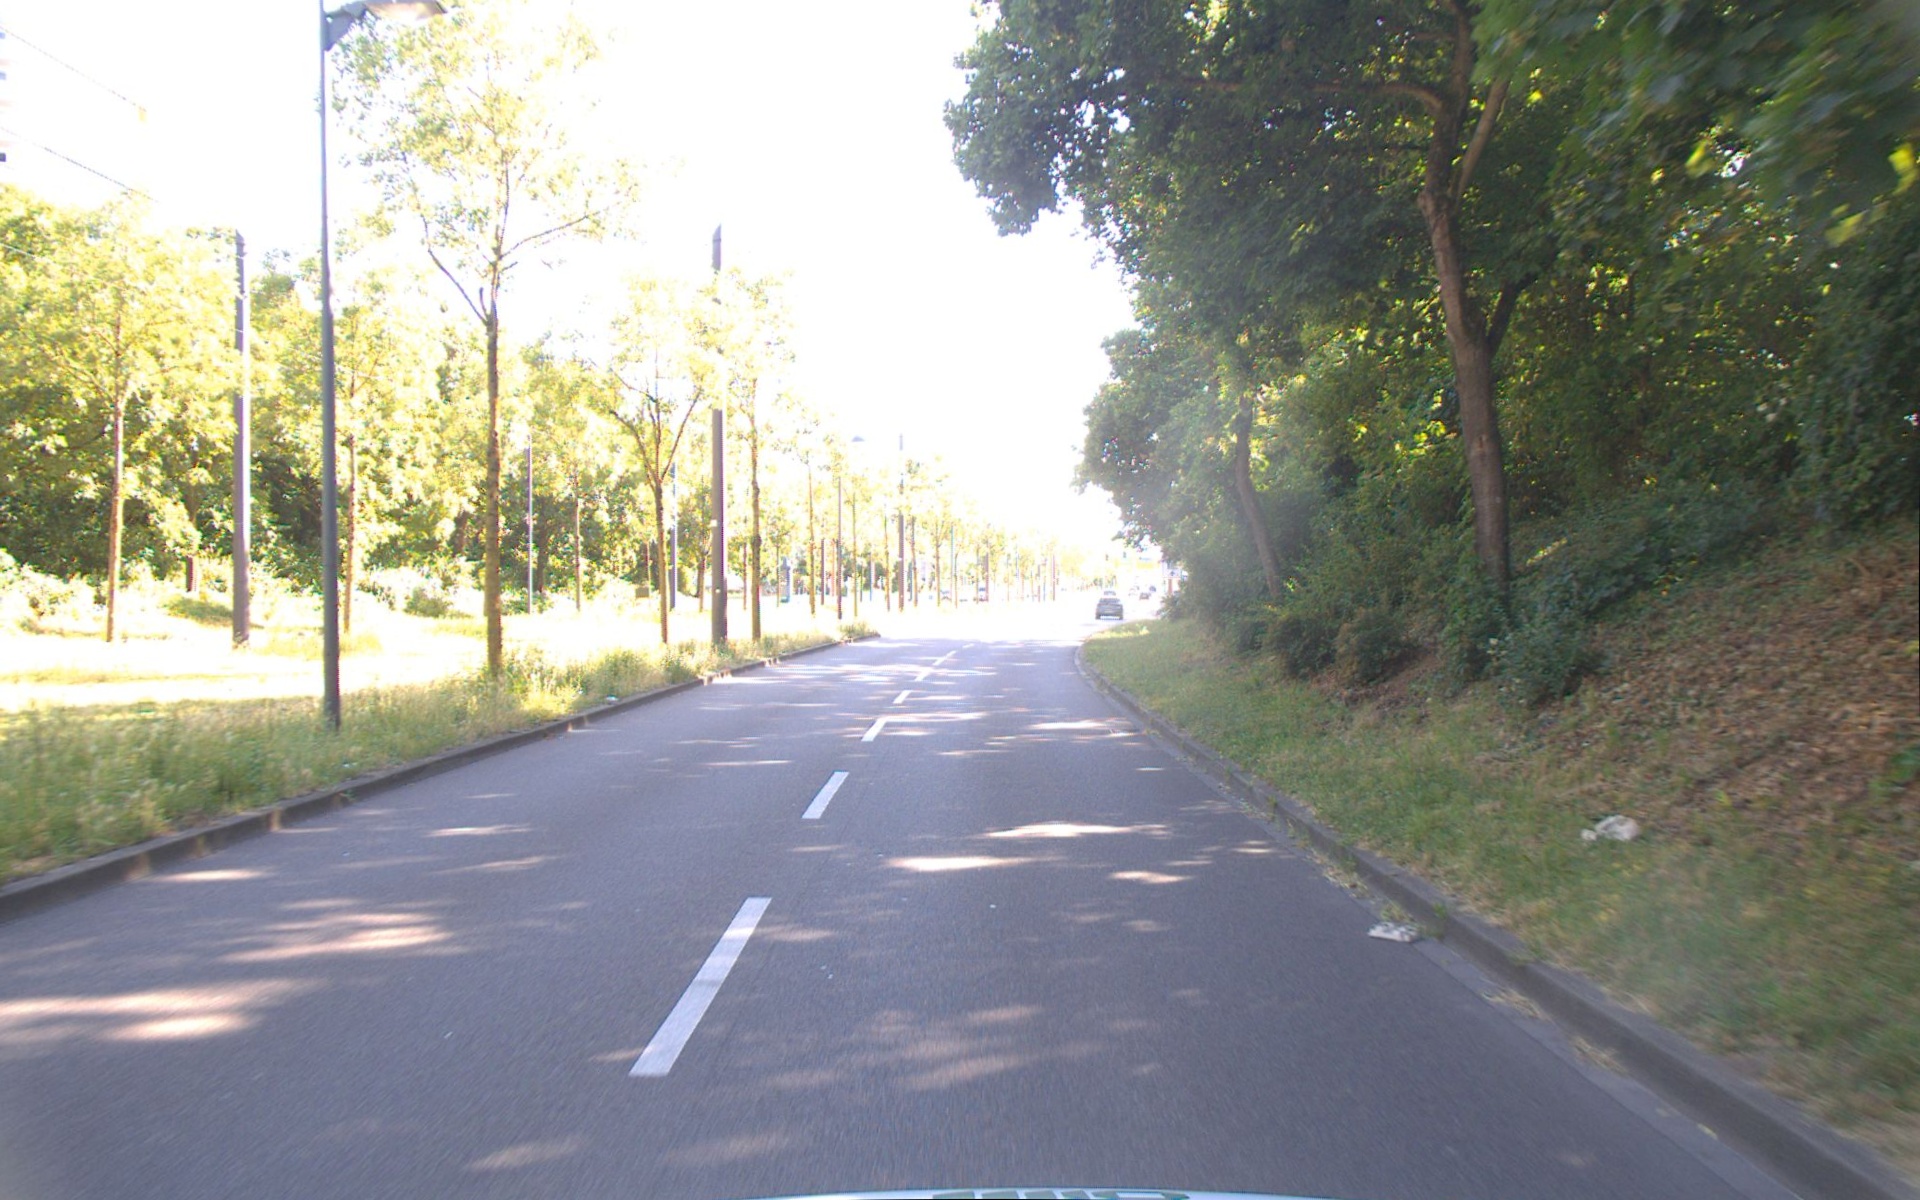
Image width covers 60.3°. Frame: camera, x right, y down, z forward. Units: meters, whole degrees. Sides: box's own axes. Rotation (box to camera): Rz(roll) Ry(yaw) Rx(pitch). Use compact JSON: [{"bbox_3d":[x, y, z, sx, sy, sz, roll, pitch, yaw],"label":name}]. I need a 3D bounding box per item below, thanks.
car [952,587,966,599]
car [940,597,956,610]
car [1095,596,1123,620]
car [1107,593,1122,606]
[{"bbox_3d":[-0.114,-0.998,237.280,1.596,1.710,4.195,1,0,6],"label":"car"},{"bbox_3d":[-1.584,0.455,220.917,1.596,1.710,4.195,1,0,6],"label":"car"},{"bbox_3d":[9.729,0.501,107.860,1.599,1.524,4.238,1,0,8],"label":"car"},{"bbox_3d":[18.268,-0.029,195.700,1.599,1.524,4.238,1,0,8],"label":"car"}]
